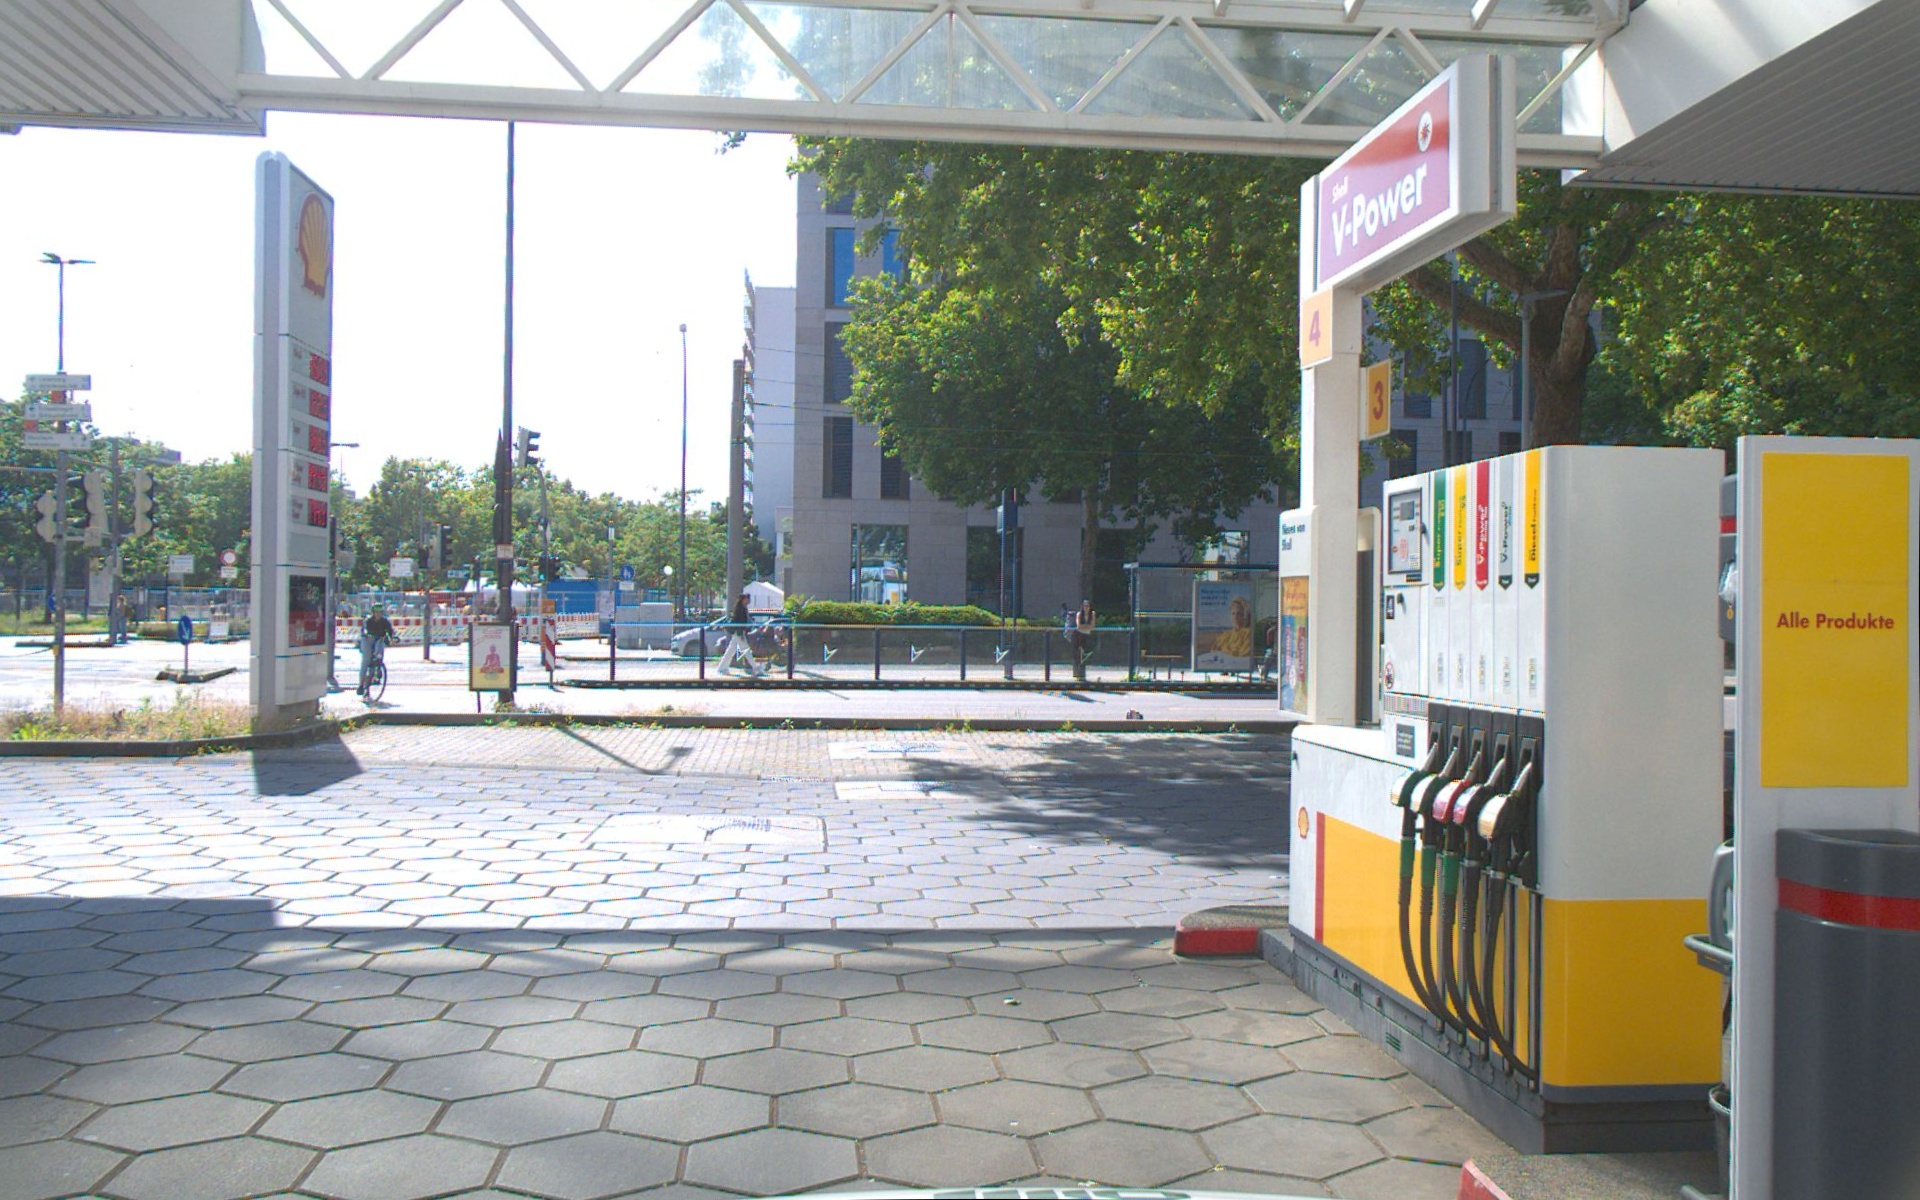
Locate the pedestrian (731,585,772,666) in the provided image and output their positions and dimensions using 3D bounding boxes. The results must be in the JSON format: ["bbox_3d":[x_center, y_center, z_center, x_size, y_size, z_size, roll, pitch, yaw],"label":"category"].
[{"bbox_3d":[-4.419,0.534,35.132,0.760,1.712,0.503,1,0,3],"label":"pedestrian"}]

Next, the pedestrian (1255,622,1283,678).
[{"bbox_3d":[6.529,1.045,34.946,0.488,1.158,0.524,1,0,0],"label":"pedestrian"}]

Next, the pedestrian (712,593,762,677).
[{"bbox_3d":[-4.590,0.711,34.094,0.912,1.712,0.503,1,0,3],"label":"pedestrian"}]

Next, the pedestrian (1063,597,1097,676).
[{"bbox_3d":[2.489,0.751,34.290,0.572,1.619,0.669,1,1,-6],"label":"pedestrian"}]

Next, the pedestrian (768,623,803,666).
[{"bbox_3d":[-3.701,0.941,35.105,0.676,0.896,0.503,1,0,3],"label":"pedestrian"}]

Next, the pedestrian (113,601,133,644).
[{"bbox_3d":[-29.513,0.783,58.318,0.557,1.495,0.508,1,-1,-31],"label":"pedestrian"}]

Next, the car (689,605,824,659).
[{"bbox_3d":[-6.163,0.956,49.863,3.916,1.579,1.698,1,0,-12],"label":"car"}]

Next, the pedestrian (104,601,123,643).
[{"bbox_3d":[-30.328,0.780,59.254,0.557,1.495,0.508,1,-1,-31],"label":"pedestrian"}]

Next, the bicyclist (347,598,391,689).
[{"bbox_3d":[-10.350,0.749,28.951,0.528,1.571,0.856,1,-1,-33],"label":"bicyclist"}]

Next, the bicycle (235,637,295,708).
[{"bbox_3d":[-11.608,1.196,27.668,0.627,1.101,2.018,1,0,-15],"label":"bicycle"}]

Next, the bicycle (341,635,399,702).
[{"bbox_3d":[-10.340,1.177,28.953,0.518,1.101,1.845,1,0,-33],"label":"bicycle"}]

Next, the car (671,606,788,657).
[{"bbox_3d":[-7.417,1.006,53.116,3.616,1.579,1.587,1,0,-12],"label":"car"}]

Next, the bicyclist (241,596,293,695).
[{"bbox_3d":[-11.608,0.750,27.729,0.627,1.608,1.168,1,0,-16],"label":"bicyclist"}]

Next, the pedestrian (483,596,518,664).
[{"bbox_3d":[-10.846,0.704,39.045,0.637,1.567,0.503,1,0,3],"label":"pedestrian"}]
